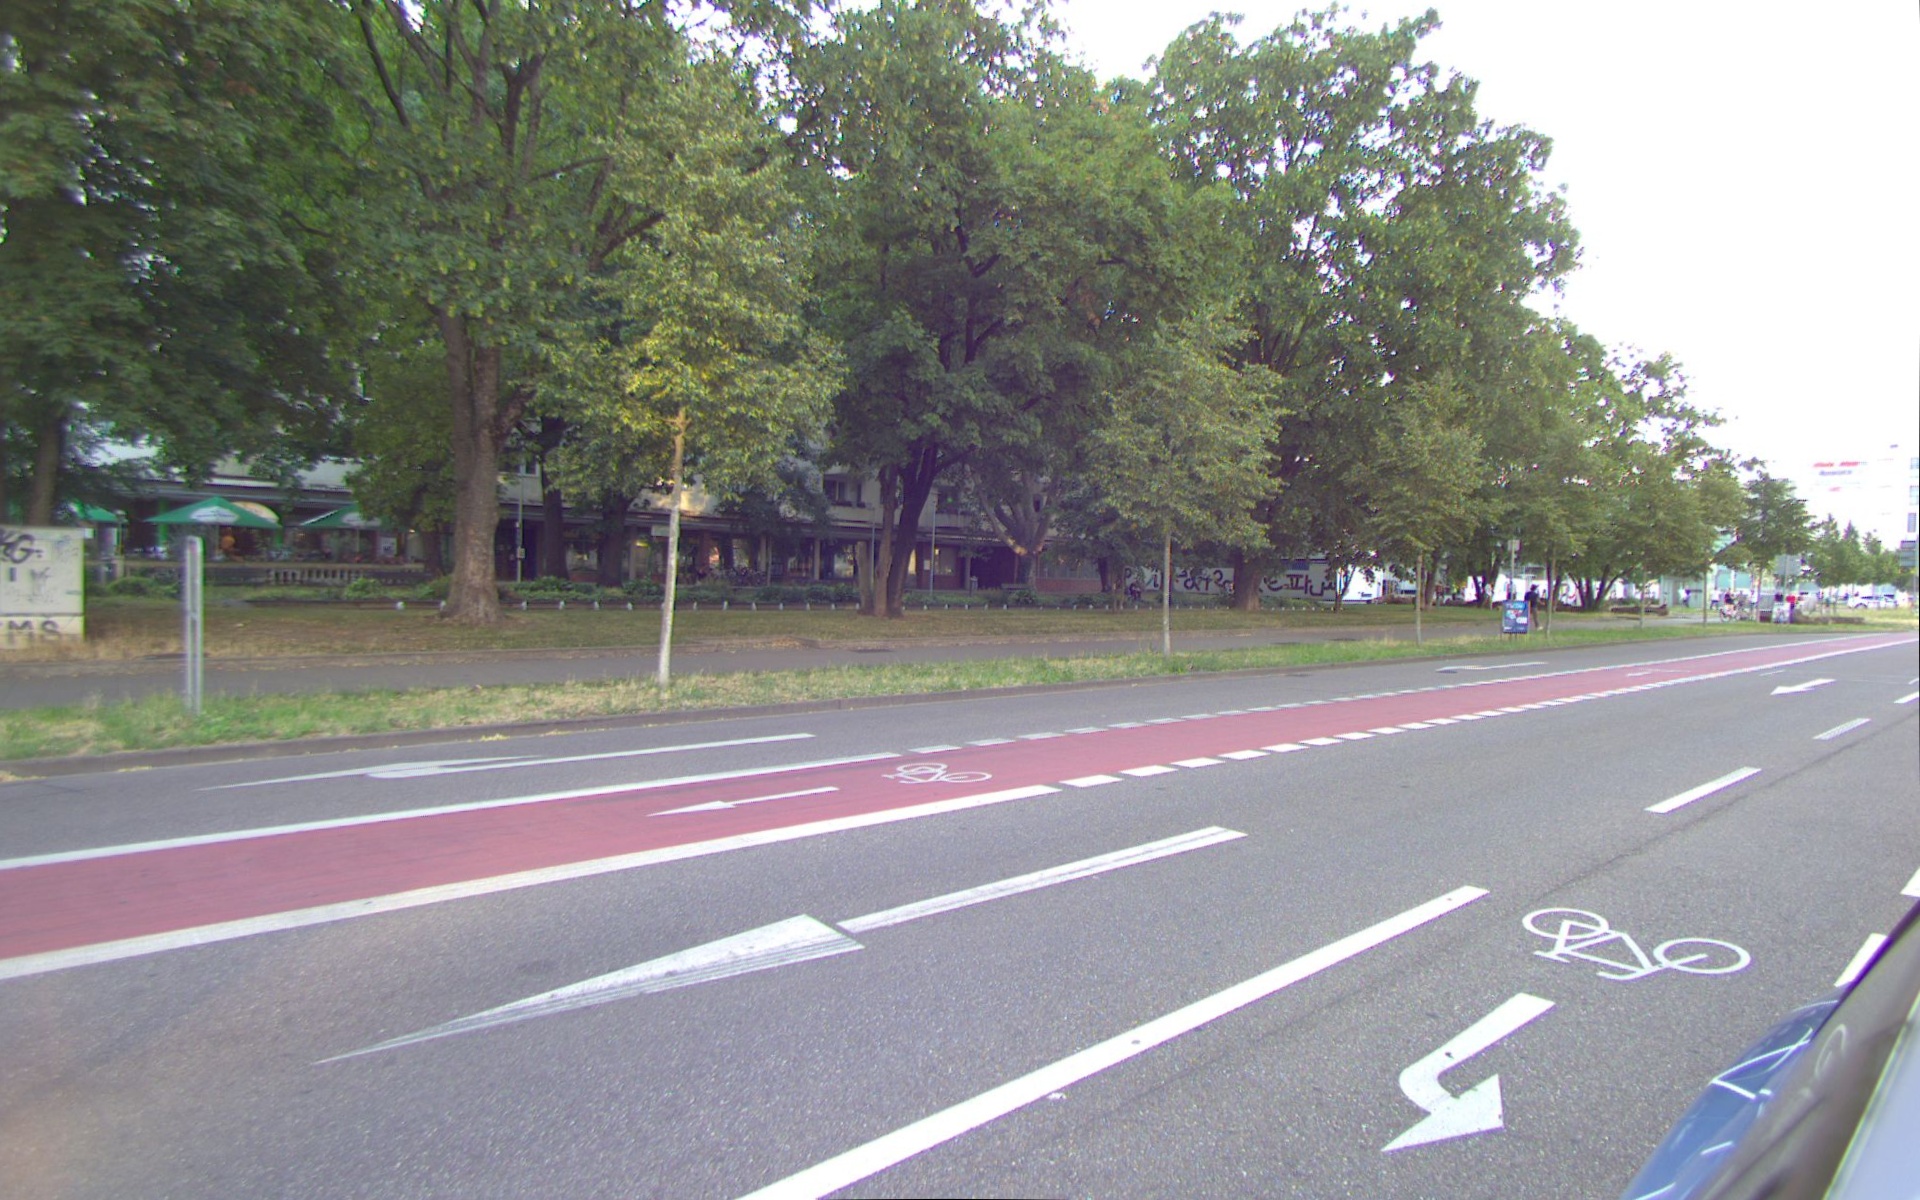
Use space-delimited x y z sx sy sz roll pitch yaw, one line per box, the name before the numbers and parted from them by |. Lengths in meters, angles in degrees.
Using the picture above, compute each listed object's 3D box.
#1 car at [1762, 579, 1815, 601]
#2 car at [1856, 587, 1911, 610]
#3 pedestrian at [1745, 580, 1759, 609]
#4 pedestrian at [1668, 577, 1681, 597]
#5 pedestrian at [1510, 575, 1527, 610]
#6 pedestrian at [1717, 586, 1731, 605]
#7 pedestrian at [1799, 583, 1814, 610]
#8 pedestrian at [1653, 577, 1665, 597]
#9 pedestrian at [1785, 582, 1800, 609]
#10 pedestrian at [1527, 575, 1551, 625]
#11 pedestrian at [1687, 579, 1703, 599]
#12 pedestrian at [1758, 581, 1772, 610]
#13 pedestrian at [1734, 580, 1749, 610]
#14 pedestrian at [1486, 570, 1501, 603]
car | 83.678 -0.990 102.219 3.989 2.038 1.968 3 2 44
car | 91.893 -0.153 100.768 3.986 2.038 1.969 3 2 43
pedestrian | 48.623 -0.328 62.137 0.707 1.751 0.519 0 2 -41
pedestrian | 50.163 -0.912 71.057 0.759 1.371 0.519 0 2 -41
pedestrian | 26.341 -0.338 47.758 0.513 1.621 0.500 0 2 -41
pedestrian | 54.607 -0.329 72.365 0.550 1.371 0.662 0 2 -40
pedestrian | 57.289 -0.242 68.511 0.497 1.779 0.638 0 2 -40
pedestrian | 49.532 -0.903 71.719 0.759 1.371 0.519 0 2 -41
pedestrian | 57.233 -0.309 69.554 0.497 1.779 0.638 0 2 -40
pedestrian | 20.987 -0.007 36.682 0.546 1.760 0.558 0 2 -41
pedestrian | 53.194 -0.790 73.241 0.604 1.371 0.728 0 2 -40
pedestrian | 48.996 -0.259 61.592 0.707 1.751 0.508 0 2 -41
pedestrian | 45.969 -0.311 59.560 0.707 1.751 0.508 0 2 -41
pedestrian | 26.299 -0.650 49.852 0.359 1.621 0.500 0 2 -40
